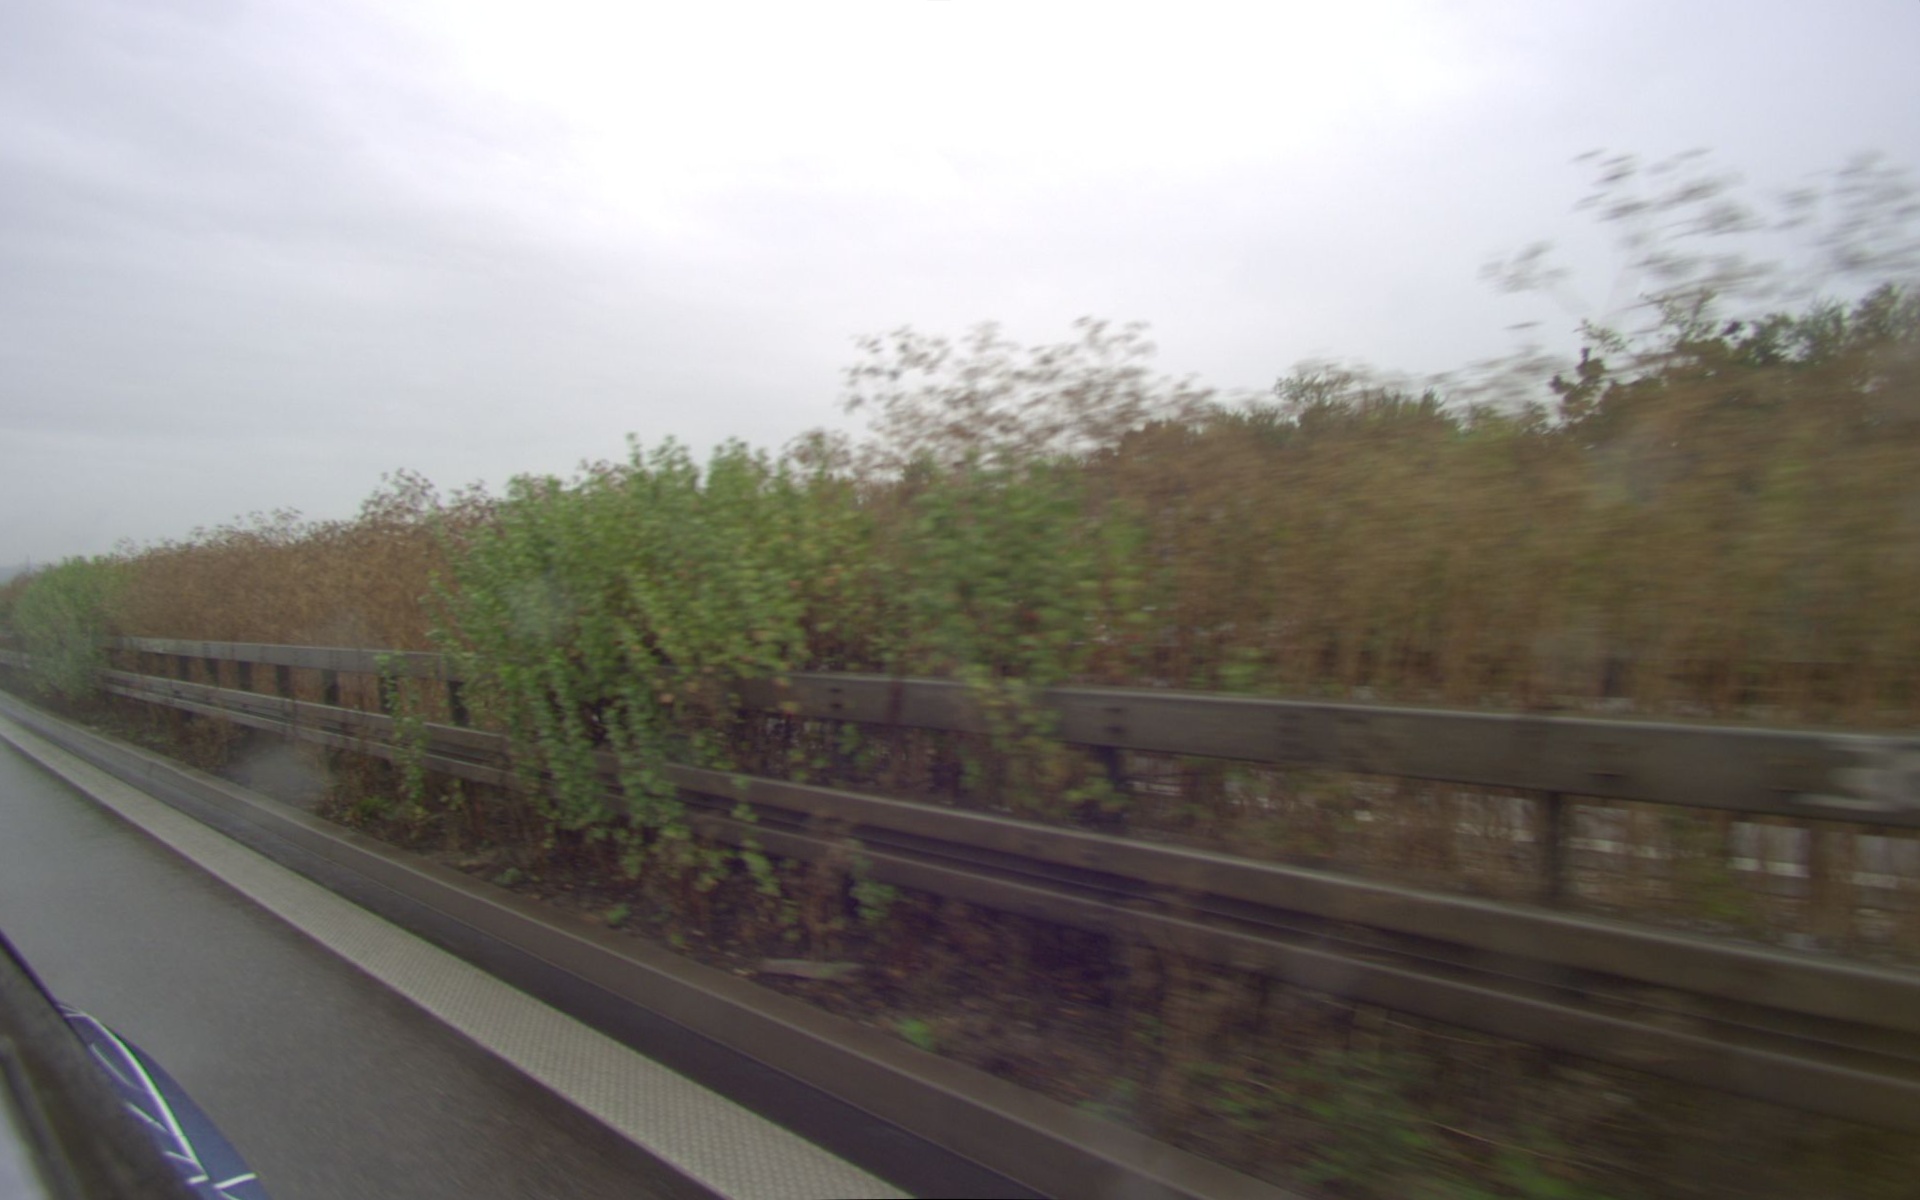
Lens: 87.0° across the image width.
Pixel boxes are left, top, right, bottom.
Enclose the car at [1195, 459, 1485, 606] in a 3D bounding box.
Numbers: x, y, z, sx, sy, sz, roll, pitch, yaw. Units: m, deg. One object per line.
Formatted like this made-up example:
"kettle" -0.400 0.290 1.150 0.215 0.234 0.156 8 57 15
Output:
"car" 6.132 -0.959 16.560 3.998 2.029 1.973 -2 -1 41
